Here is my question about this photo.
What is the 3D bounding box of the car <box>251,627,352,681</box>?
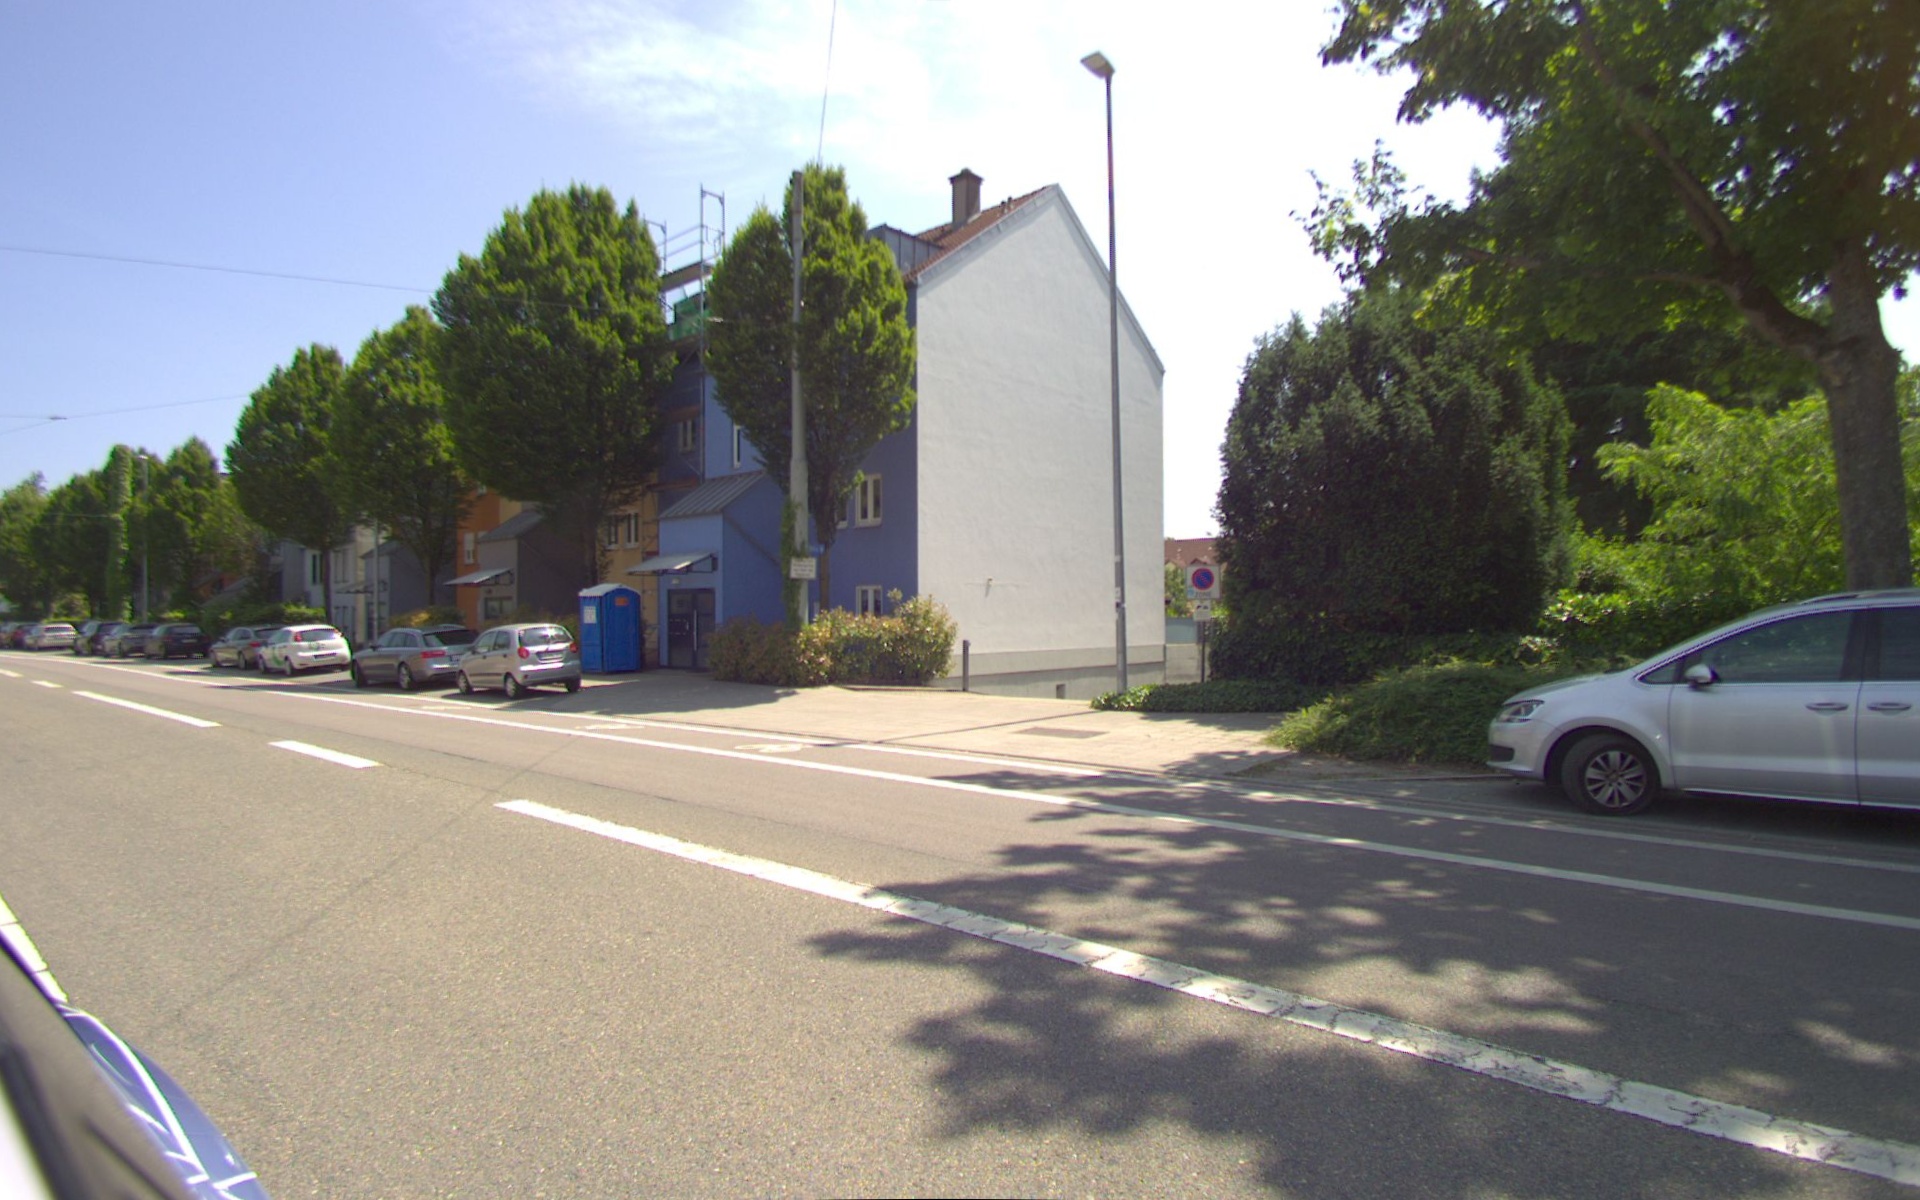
[{"bbox_3d":[-20.794,1.662,31.917,3.646,1.507,1.635,-1,2,40],"label":"car"}]

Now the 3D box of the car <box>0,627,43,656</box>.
[{"bbox_3d":[-55.939,2.438,59.961,3.467,1.507,1.842,-1,2,40],"label":"car"}]

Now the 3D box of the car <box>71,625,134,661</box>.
[{"bbox_3d":[-42.135,2.085,49.680,4.079,1.599,1.635,-1,2,40],"label":"car"}]

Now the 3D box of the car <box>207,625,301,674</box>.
[{"bbox_3d":[-24.740,1.692,35.414,4.079,1.507,1.635,-1,2,40],"label":"car"}]

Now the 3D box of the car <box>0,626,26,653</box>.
[{"bbox_3d":[-59.677,2.468,62.965,3.467,1.507,1.842,-1,2,40],"label":"car"}]

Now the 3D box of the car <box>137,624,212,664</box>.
[{"bbox_3d":[-33.419,1.851,43.007,4.079,1.507,1.635,-1,2,40],"label":"car"}]

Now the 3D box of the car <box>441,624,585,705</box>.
[{"bbox_3d":[-9.666,1.327,21.811,3.279,1.507,1.487,-1,2,40],"label":"car"}]

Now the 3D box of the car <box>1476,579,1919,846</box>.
[{"bbox_3d":[6.571,0.716,7.350,4.686,1.701,1.950,-1,-1,42],"label":"car"}]

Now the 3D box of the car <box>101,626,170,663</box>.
[{"bbox_3d":[-37.281,1.979,45.738,4.079,1.507,1.635,-1,2,40],"label":"car"}]

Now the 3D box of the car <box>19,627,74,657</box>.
[{"bbox_3d":[-51.184,2.306,56.701,4.079,1.507,1.702,-1,2,40],"label":"car"}]

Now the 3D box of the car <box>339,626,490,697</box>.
[{"bbox_3d":[-13.607,1.456,25.122,4.635,1.507,1.659,-1,2,40],"label":"car"}]
